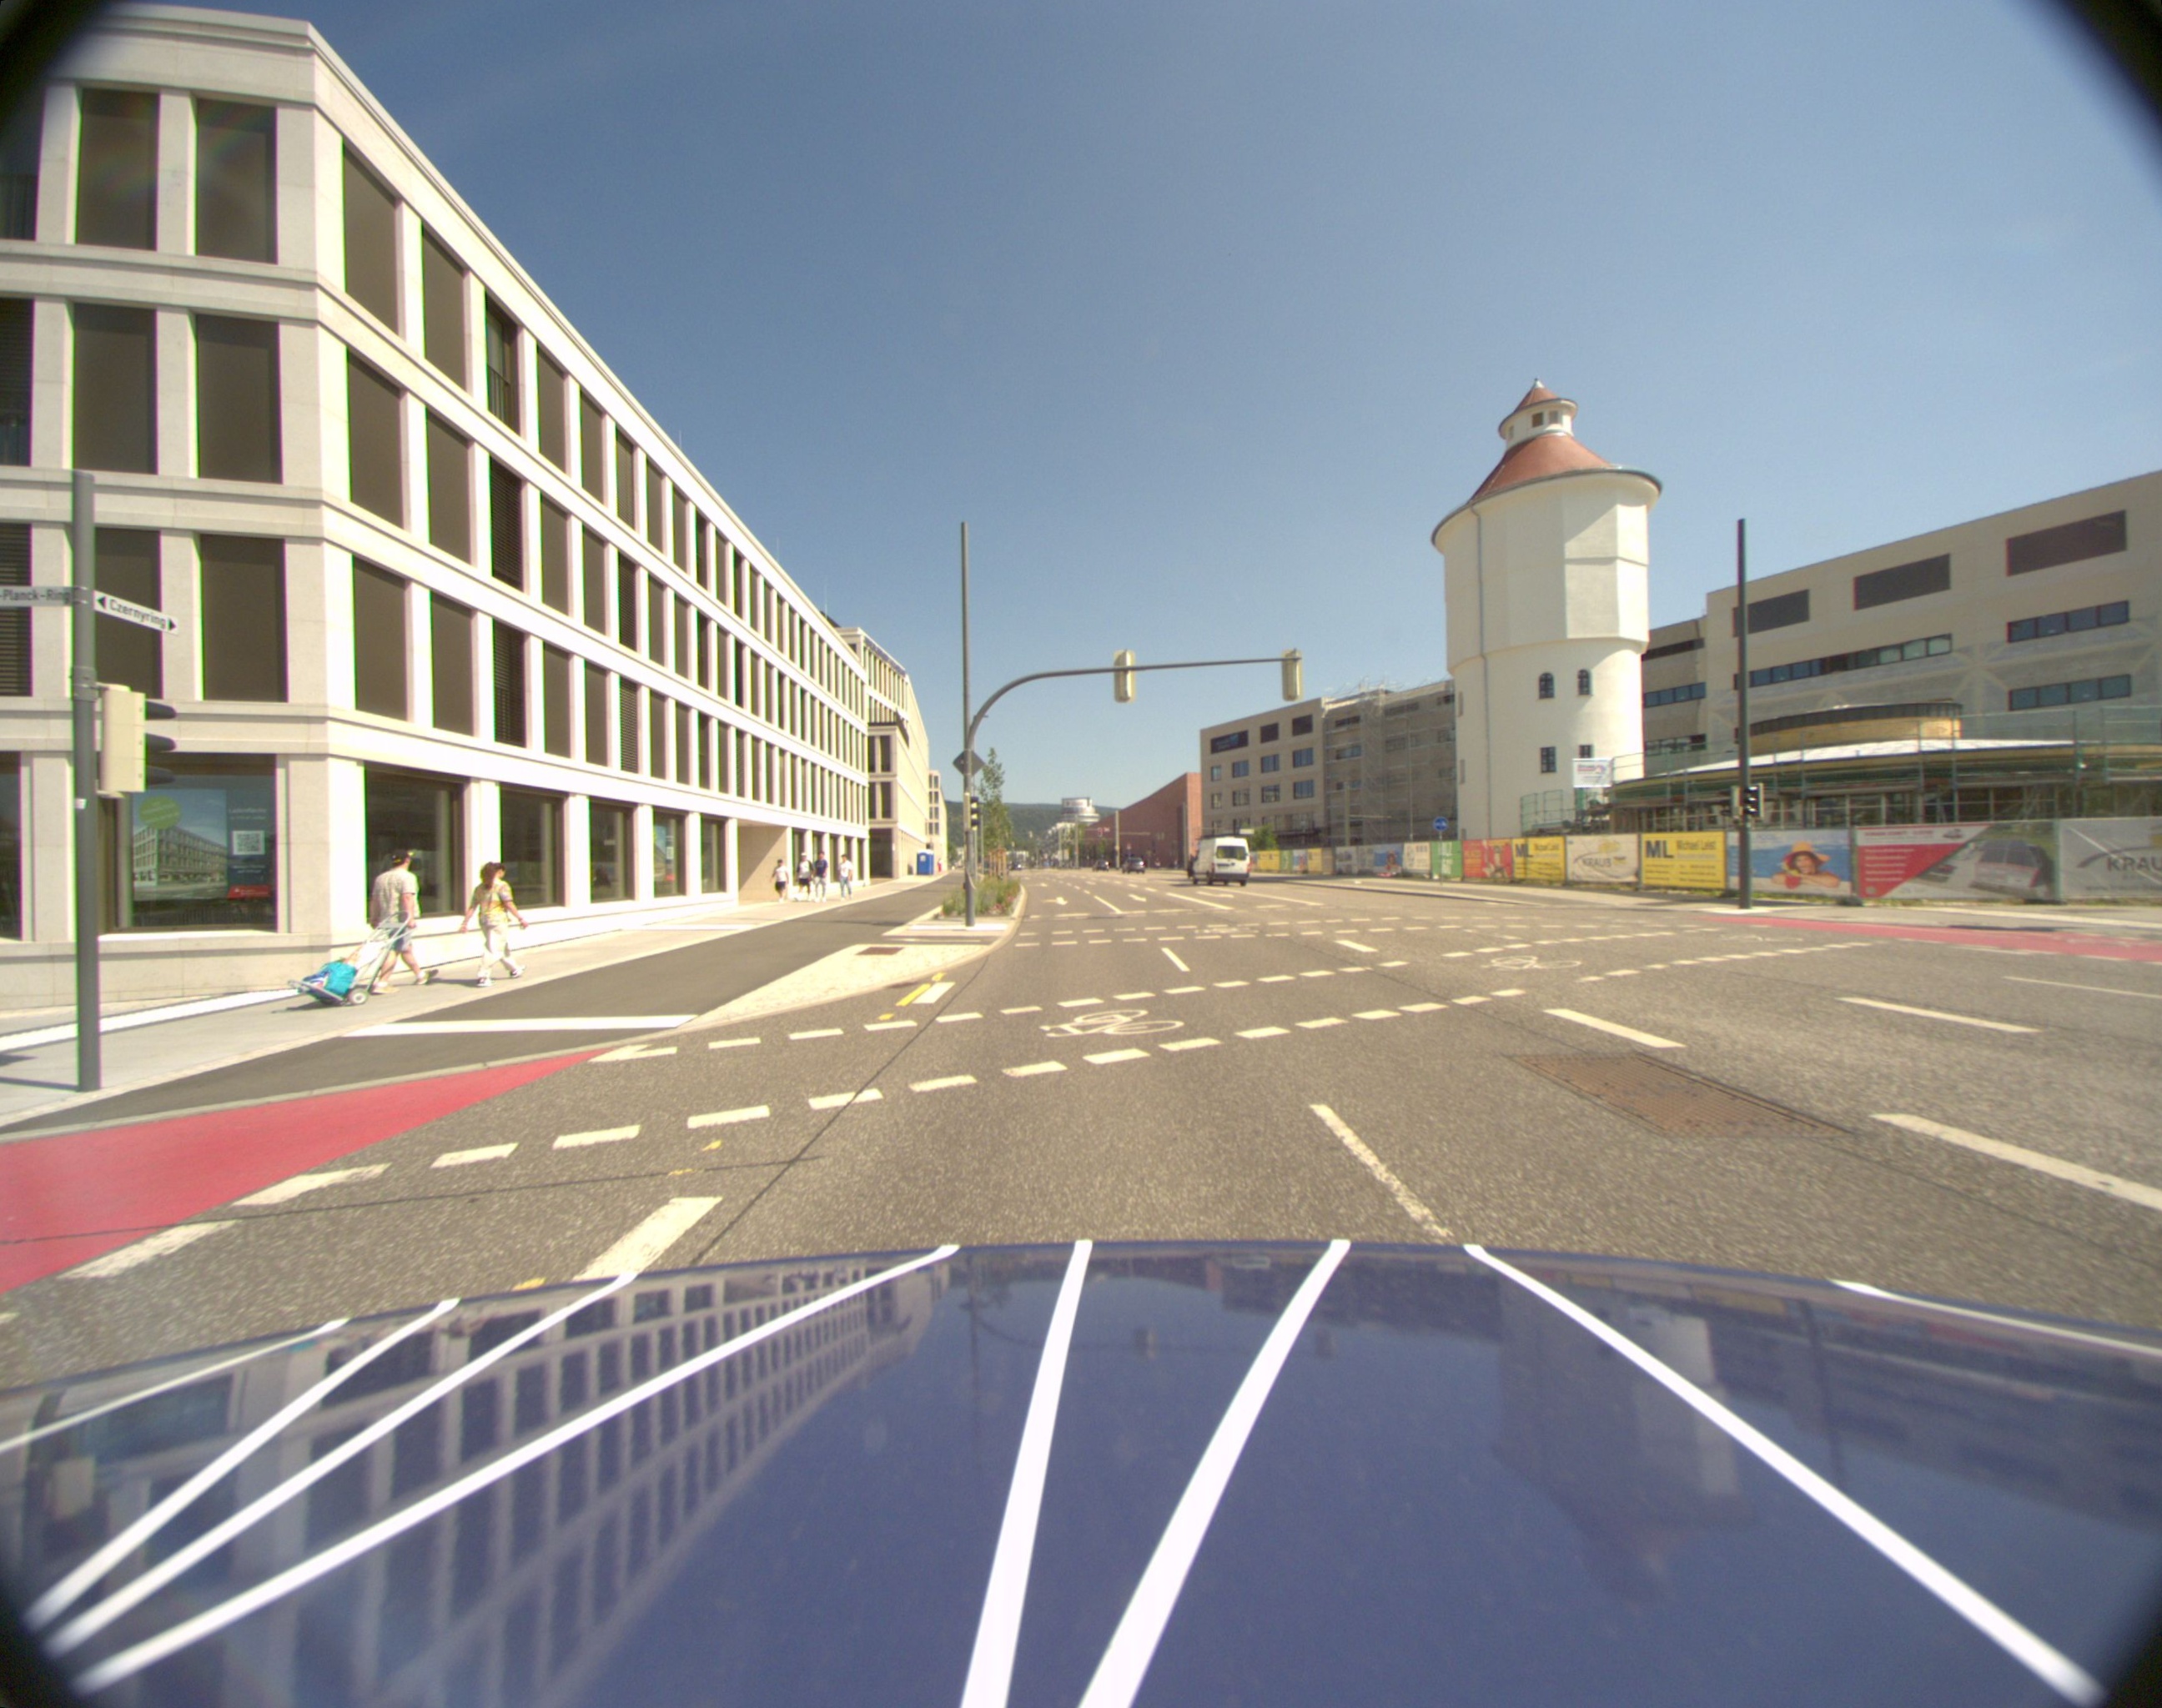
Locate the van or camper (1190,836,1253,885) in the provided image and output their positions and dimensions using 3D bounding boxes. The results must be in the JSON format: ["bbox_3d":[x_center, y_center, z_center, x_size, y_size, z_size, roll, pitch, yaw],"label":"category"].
[{"bbox_3d":[7.429,0.339,40.792,2.158,2.400,5.681,1,0,-2],"label":"van or camper"}]

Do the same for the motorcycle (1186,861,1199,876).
[{"bbox_3d":[8.457,1.096,57.758,0.585,1.098,2.214,0,1,-1],"label":"motorcycle"}]

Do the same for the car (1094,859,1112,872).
[{"bbox_3d":[2.874,1.463,100.197,1.935,1.603,3.998,-1,0,-3],"label":"car"}]

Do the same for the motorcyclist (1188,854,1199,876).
[{"bbox_3d":[8.473,0.817,57.275,0.620,1.650,0.927,-1,1,-2],"label":"motorcyclist"}]

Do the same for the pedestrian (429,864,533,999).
[{"bbox_3d":[-8.095,1.017,10.289,0.702,1.714,0.796,-2,1,-2],"label":"pedestrian"}]

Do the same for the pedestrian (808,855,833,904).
[{"bbox_3d":[-9.438,0.896,27.573,0.578,1.730,0.996,-1,1,-4],"label":"pedestrian"}]

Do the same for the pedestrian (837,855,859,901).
[{"bbox_3d":[-8.930,0.919,29.113,0.578,1.710,0.996,0,1,-4],"label":"pedestrian"}]

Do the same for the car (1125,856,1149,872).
[{"bbox_3d":[5.919,1.031,80.699,1.803,1.581,3.969,0,0,-5],"label":"car"}]

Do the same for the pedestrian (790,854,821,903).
[{"bbox_3d":[-10.212,0.881,28.216,0.826,1.773,0.926,-1,1,-4],"label":"pedestrian"}]

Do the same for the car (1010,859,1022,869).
[{"bbox_3d":[-11.018,1.633,128.694,1.784,1.552,3.830,-3,0,-6],"label":"car"}]

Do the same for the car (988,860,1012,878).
[{"bbox_3d":[-7.041,1.293,66.528,1.811,1.499,3.999,-2,0,-4],"label":"car"}]

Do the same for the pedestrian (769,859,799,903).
[{"bbox_3d":[-10.905,0.979,27.954,0.770,1.557,0.842,-1,1,-4],"label":"pedestrian"}]

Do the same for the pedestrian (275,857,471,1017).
[{"bbox_3d":[-8.927,0.973,9.704,0.880,1.816,1.664,-2,1,-2],"label":"pedestrian"}]
